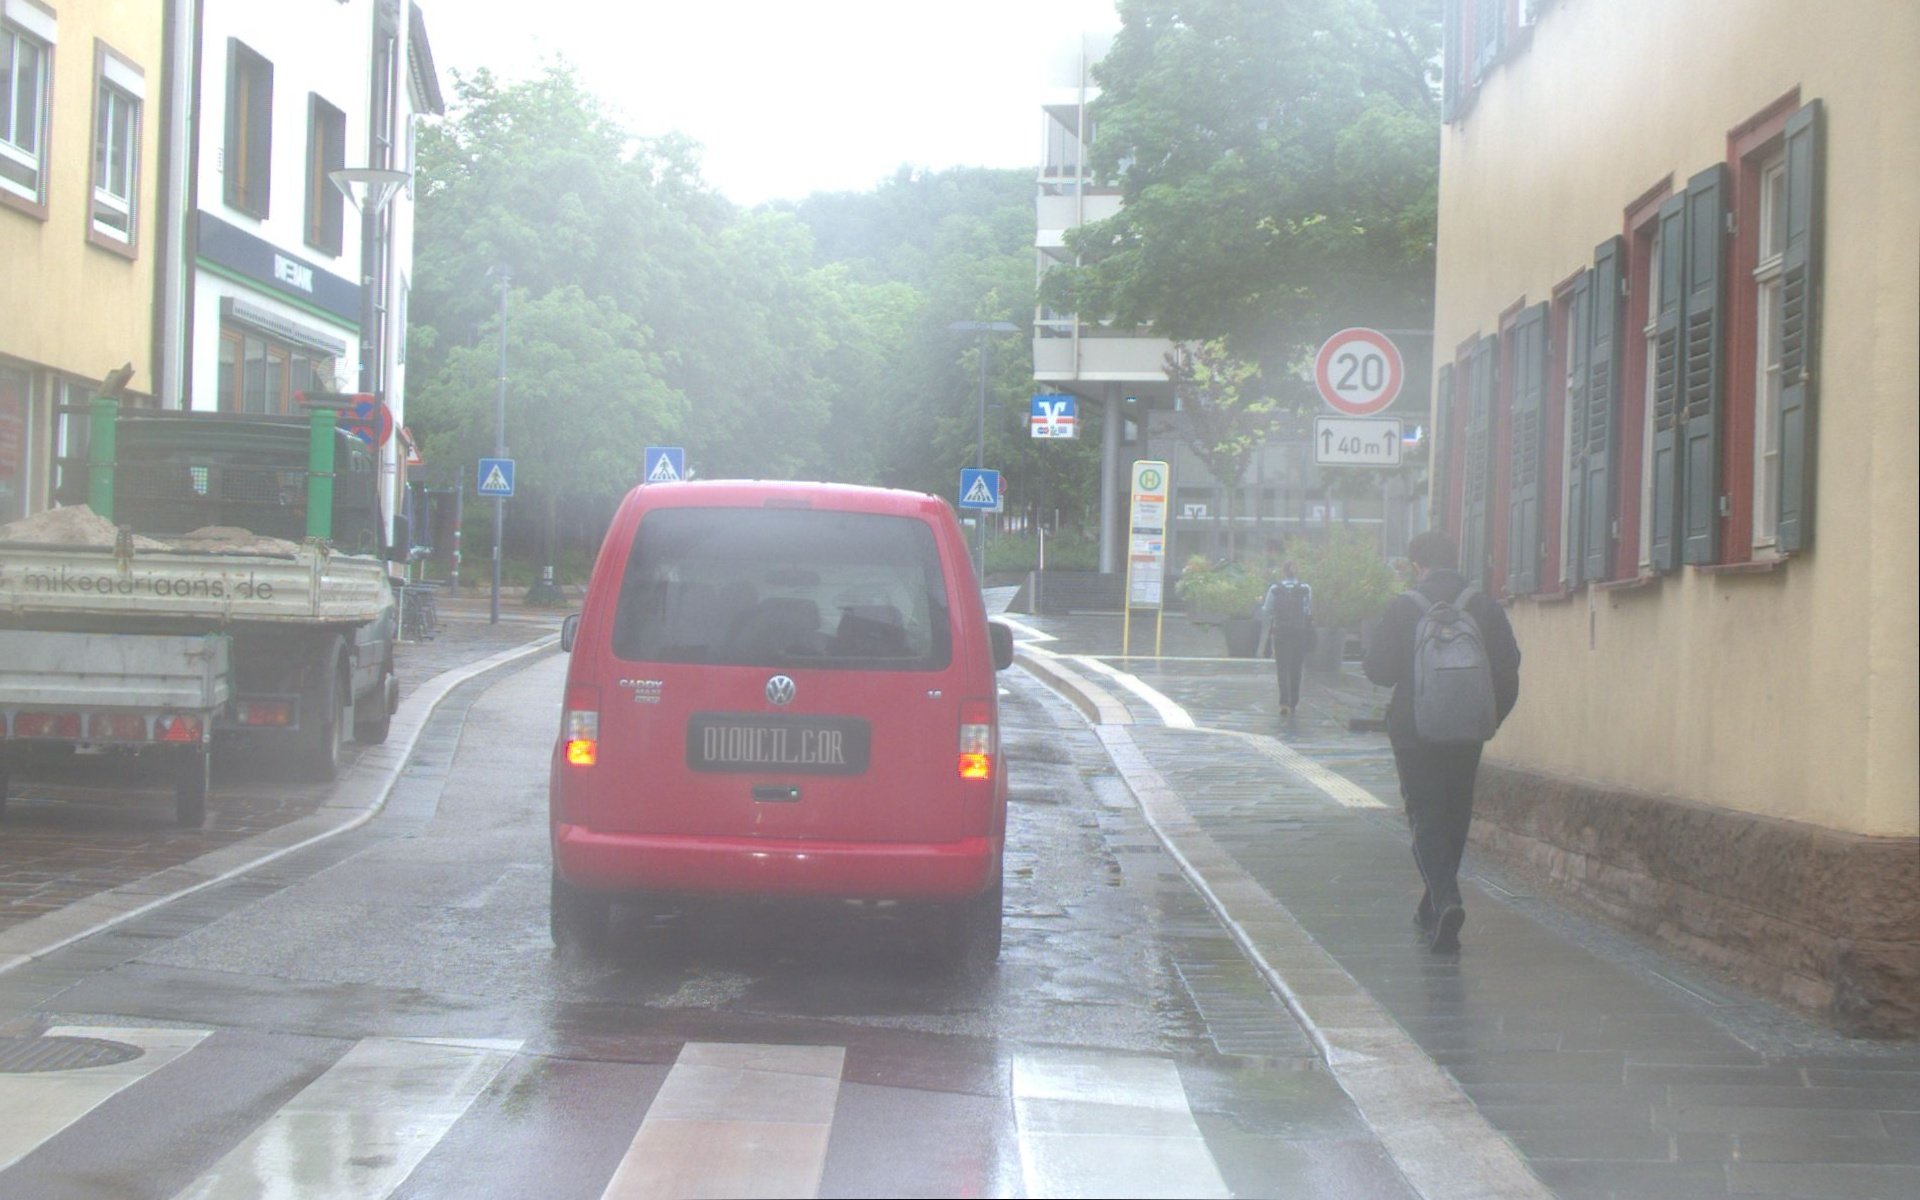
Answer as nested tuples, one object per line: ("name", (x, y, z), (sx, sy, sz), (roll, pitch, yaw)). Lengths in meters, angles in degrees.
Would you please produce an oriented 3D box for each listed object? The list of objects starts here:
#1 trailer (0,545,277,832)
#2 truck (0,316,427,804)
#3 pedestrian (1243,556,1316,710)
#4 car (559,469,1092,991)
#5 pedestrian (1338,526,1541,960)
("trailer", (-4.673, 0.403, 18.173), (1.727, 1.342, 3.161), (1, 1, -5))
("truck", (-5.061, -0.315, 23.017), (2.473, 2.785, 6.601), (1, 1, -5))
("pedestrian", (3.386, 0.348, 36.517), (0.728, 1.611, 0.693), (1, 0, 3))
("car", (-0.605, 0.455, 14.361), (1.862, 1.824, 4.185), (1, 0, -4))
("pedestrian", (1.926, 0.551, 13.911), (0.714, 1.687, 0.868), (1, 1, 4))
